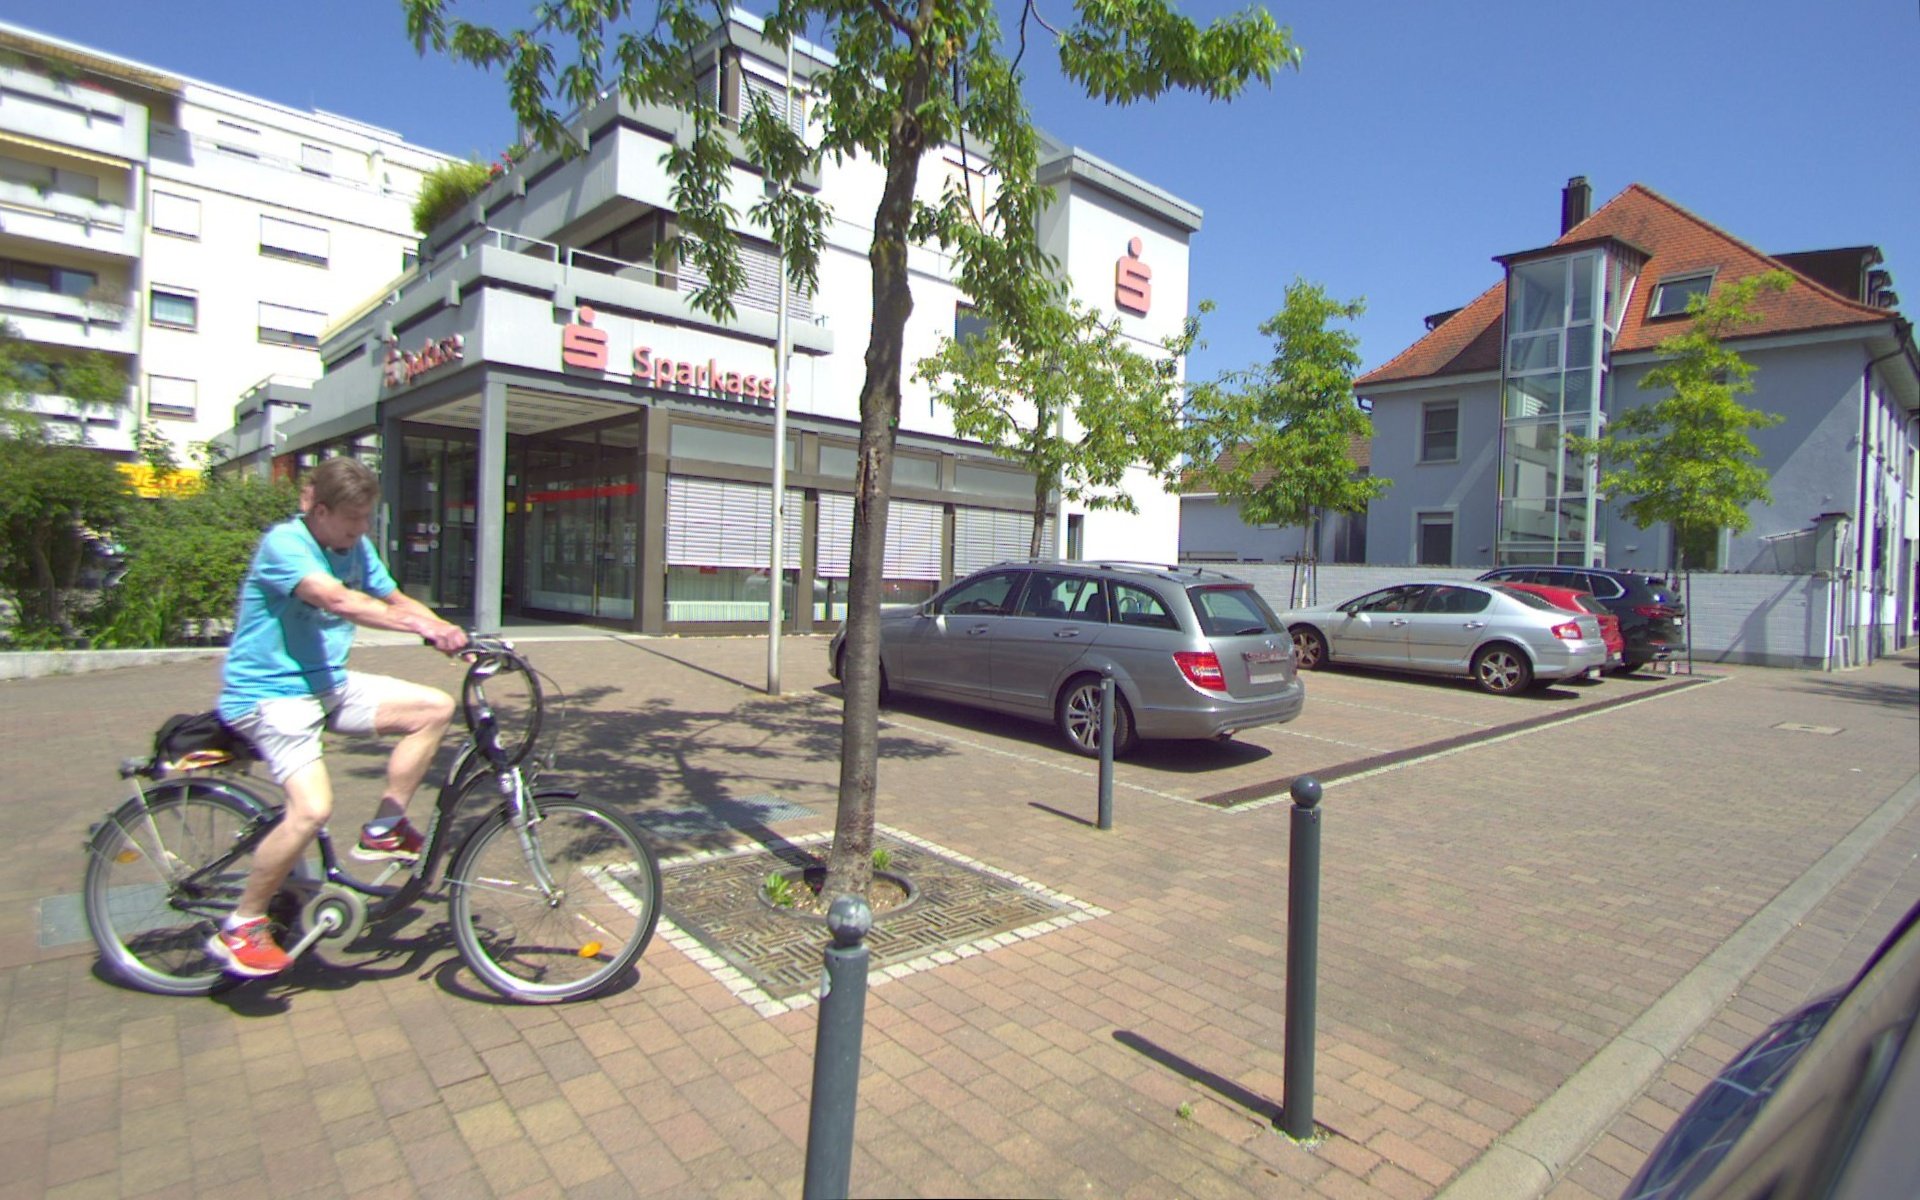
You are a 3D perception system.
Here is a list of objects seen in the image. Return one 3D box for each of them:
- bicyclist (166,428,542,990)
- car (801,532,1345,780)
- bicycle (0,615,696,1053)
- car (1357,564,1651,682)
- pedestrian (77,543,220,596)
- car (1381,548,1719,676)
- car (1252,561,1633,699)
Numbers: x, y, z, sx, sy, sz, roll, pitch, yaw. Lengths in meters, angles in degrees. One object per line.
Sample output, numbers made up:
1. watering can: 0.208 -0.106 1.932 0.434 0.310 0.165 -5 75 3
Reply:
1. bicyclist: -1.838 0.298 3.166 0.747 1.545 0.671 2 2 0
2. car: 0.749 0.261 8.987 4.579 1.530 1.886 6 4 44
3. bicycle: -1.858 0.664 3.176 1.860 1.123 0.676 2 2 0
4. car: 8.541 0.284 16.082 3.732 1.470 1.717 6 4 44
5. pedestrian: -20.846 -0.761 26.058 0.983 1.289 2.734 3 2 41
6. car: 10.219 0.112 17.822 2.111 1.792 4.639 1 3 -42
7. car: 6.722 0.306 14.487 4.539 1.458 1.810 6 4 44
